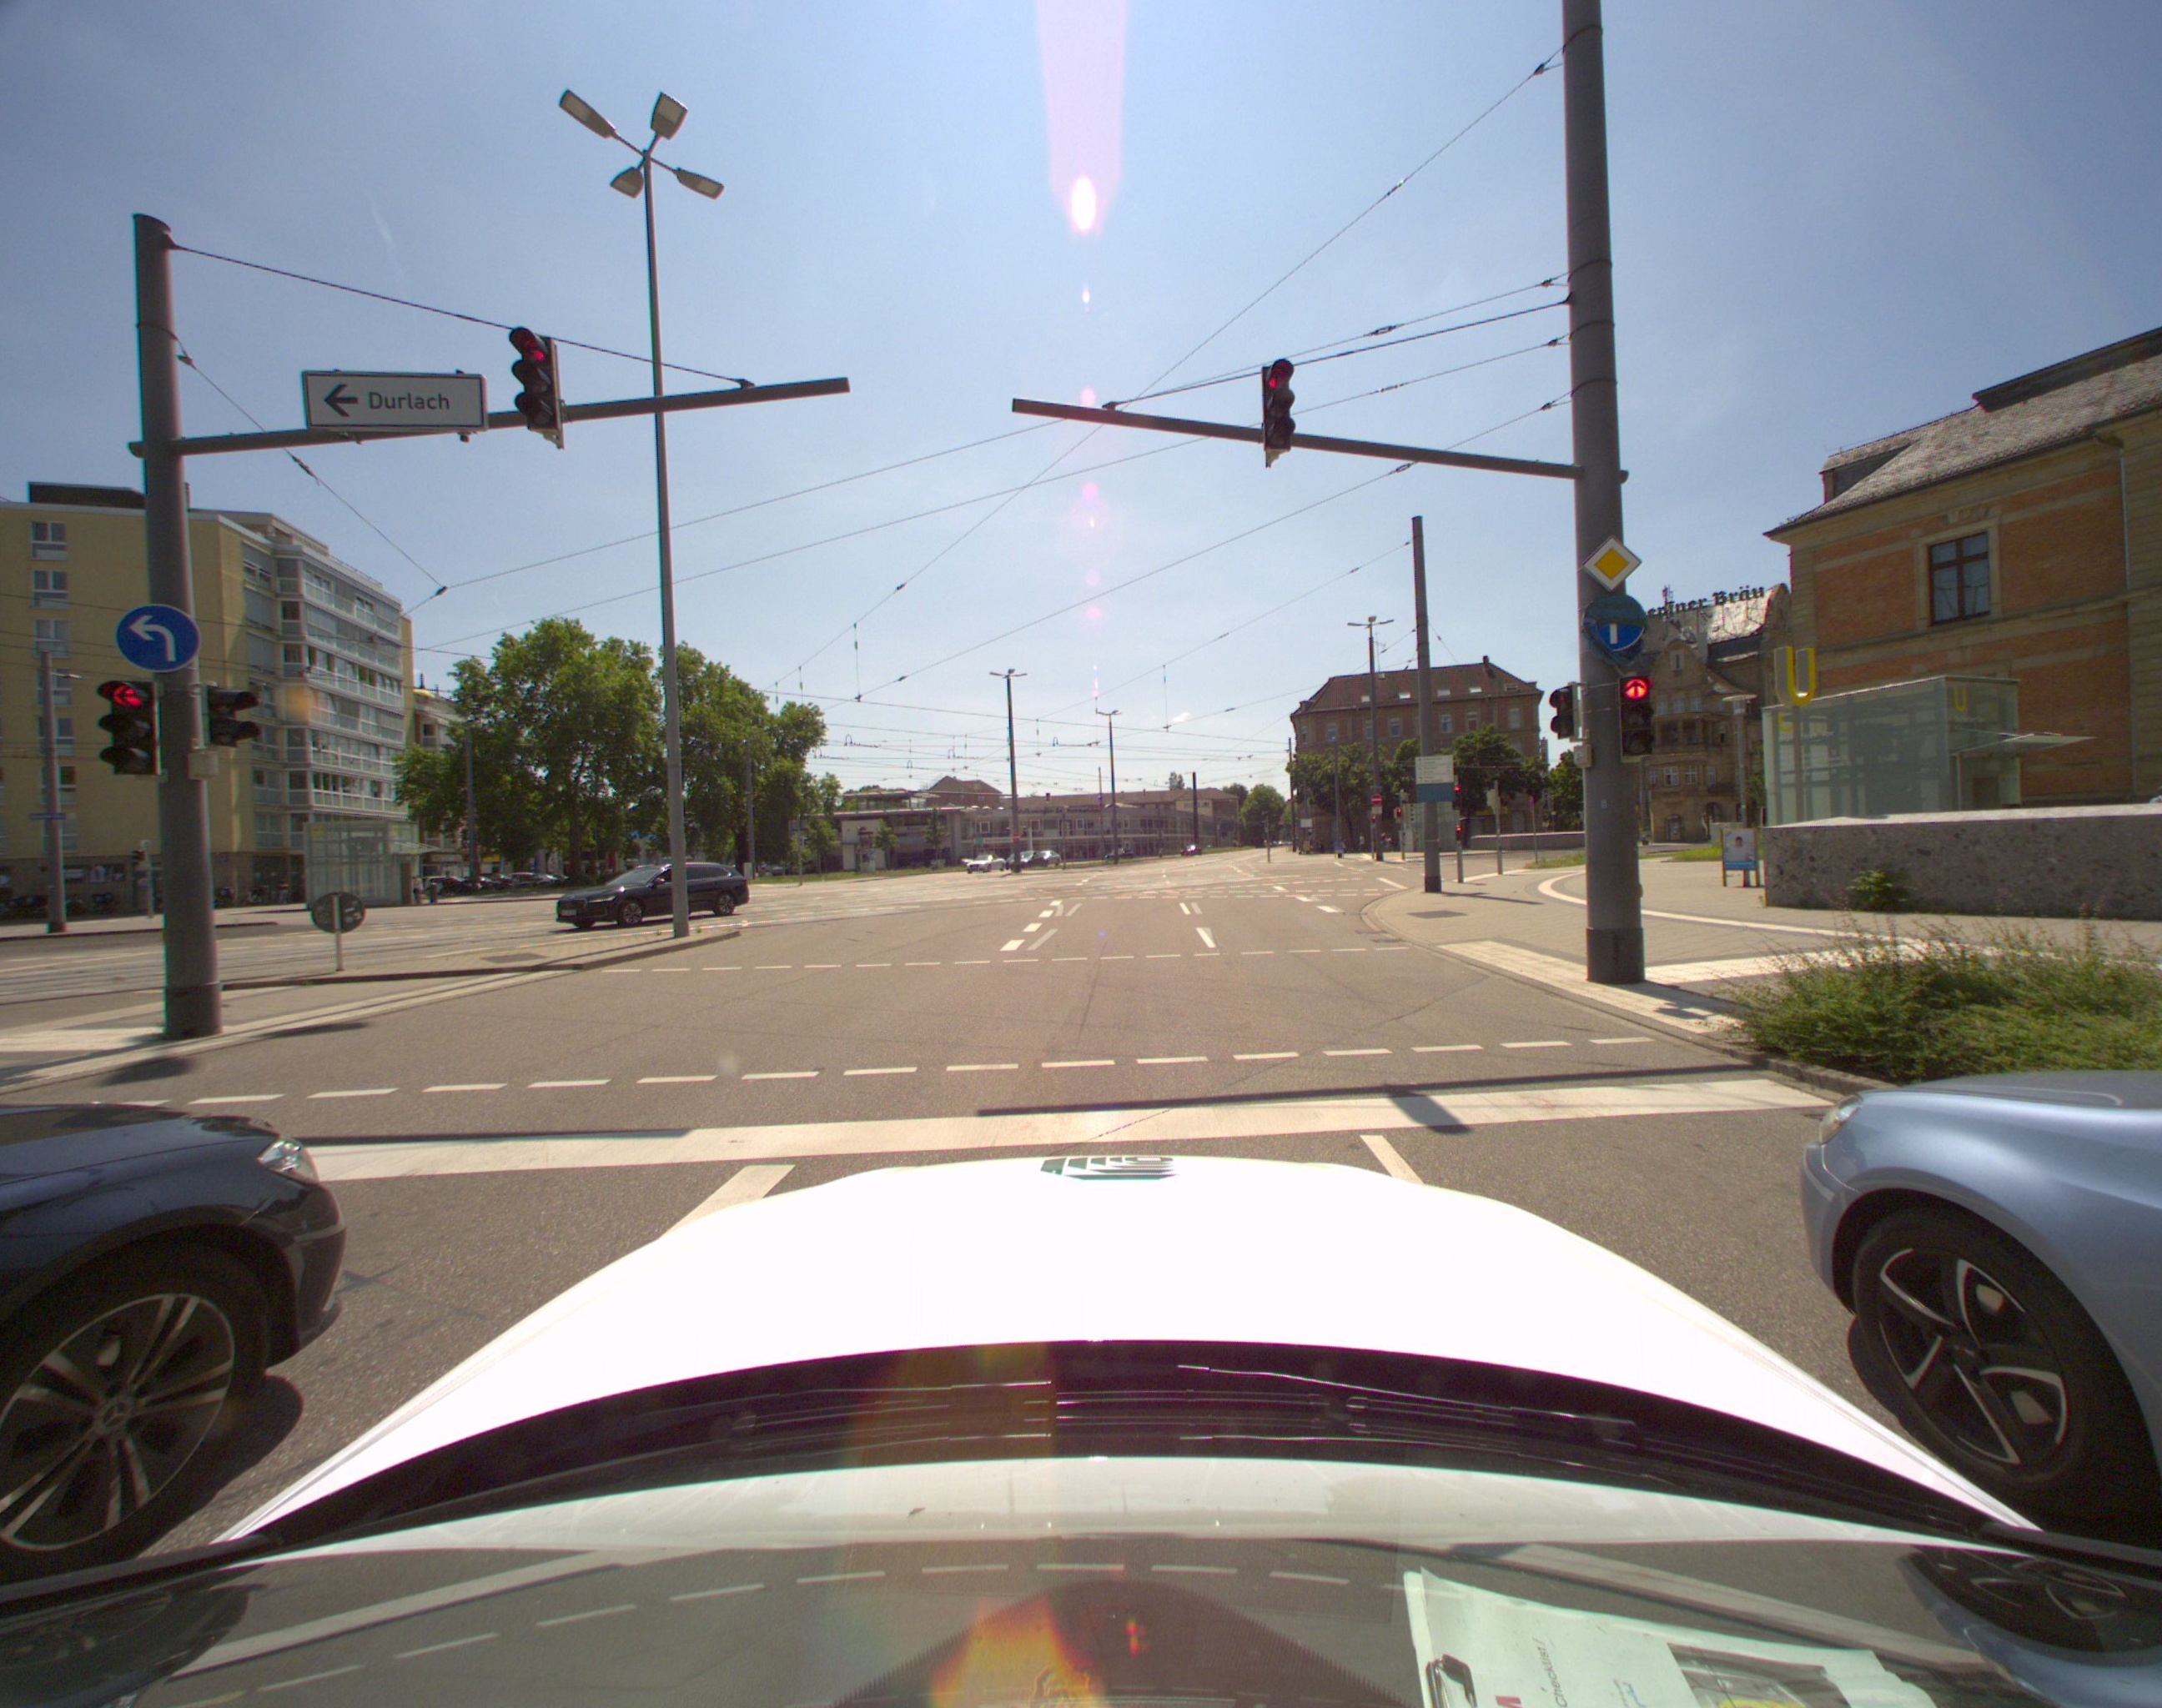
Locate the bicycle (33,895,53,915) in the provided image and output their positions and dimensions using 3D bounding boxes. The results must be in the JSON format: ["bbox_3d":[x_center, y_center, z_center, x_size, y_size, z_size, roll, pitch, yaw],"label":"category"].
[{"bbox_3d":[-56.915,2.781,44.656,0.435,1.026,1.426,-2,0,-42],"label":"bicycle"}]

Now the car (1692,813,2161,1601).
[{"bbox_3d":[2.812,0.647,0.657,1.646,1.459,4.003,-1,0,0],"label":"car"}]

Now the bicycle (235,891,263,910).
[{"bbox_3d":[-49.275,2.757,48.263,0.432,1.026,1.437,-2,0,-14],"label":"bicycle"}]

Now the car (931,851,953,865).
[{"bbox_3d":[-17.156,0.545,100.704,1.913,1.707,4.002,0,-1,2],"label":"car"}]

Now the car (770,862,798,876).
[{"bbox_3d":[-37.498,1.856,102.848,1.760,1.510,4.330,-2,0,3],"label":"car"}]

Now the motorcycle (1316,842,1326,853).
[{"bbox_3d":[23.191,-0.645,78.800,0.577,1.074,1.949,-2,0,6],"label":"motorcycle"}]

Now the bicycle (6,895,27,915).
[{"bbox_3d":[-57.858,2.785,44.262,0.435,1.026,1.426,-2,0,-42],"label":"bicycle"}]

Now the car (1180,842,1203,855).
[{"bbox_3d":[15.561,-0.744,114.674,1.975,1.776,4.023,-1,-1,25],"label":"car"}]

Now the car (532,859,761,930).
[{"bbox_3d":[-10.900,0.963,20.894,1.975,1.465,4.875,-2,0,27],"label":"car"}]

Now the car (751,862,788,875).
[{"bbox_3d":[-41.433,1.941,108.395,4.343,1.510,1.754,-3,0,-33],"label":"car"}]

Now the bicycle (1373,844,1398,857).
[{"bbox_3d":[26.290,-0.331,70.377,2.115,1.052,0.687,-2,0,-23],"label":"bicycle"}]

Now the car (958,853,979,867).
[{"bbox_3d":[-13.912,0.718,100.710,1.913,1.707,4.002,0,-1,2],"label":"car"}]

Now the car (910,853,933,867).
[{"bbox_3d":[-19.743,0.762,100.787,1.913,1.707,4.002,0,-1,2],"label":"car"}]

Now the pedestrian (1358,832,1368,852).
[{"bbox_3d":[24.782,-1.064,71.563,0.463,1.708,0.634,-2,0,-28],"label":"pedestrian"}]

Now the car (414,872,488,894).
[{"bbox_3d":[-48.989,2.238,63.414,3.999,1.420,1.988,-2,0,-19],"label":"car"}]

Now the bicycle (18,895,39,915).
[{"bbox_3d":[-57.403,2.783,44.421,0.435,1.026,1.426,-2,0,-42],"label":"bicycle"}]

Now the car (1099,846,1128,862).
[{"bbox_3d":[3.833,-0.042,96.177,2.061,1.682,4.870,-2,0,19],"label":"car"}]

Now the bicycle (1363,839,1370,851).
[{"bbox_3d":[27.349,-0.822,77.956,0.546,1.120,1.829,-2,0,18],"label":"bicycle"}]

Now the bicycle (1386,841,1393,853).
[{"bbox_3d":[29.688,-0.721,78.363,0.546,1.120,1.879,-2,0,18],"label":"bicycle"}]

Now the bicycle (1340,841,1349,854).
[{"bbox_3d":[25.585,-0.624,79.113,0.440,1.146,2.099,-1,-1,9],"label":"bicycle"}]

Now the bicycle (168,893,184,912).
[{"bbox_3d":[-51.224,2.752,46.100,0.435,1.026,1.426,-2,0,-42],"label":"bicycle"}]

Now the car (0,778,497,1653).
[{"bbox_3d":[-2.983,0.695,0.370,1.790,1.640,4.808,-1,0,2],"label":"car"}]

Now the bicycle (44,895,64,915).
[{"bbox_3d":[-56.408,2.778,44.731,0.435,1.026,1.426,-2,0,-42],"label":"bicycle"}]

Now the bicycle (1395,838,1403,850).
[{"bbox_3d":[30.512,-0.935,78.214,0.546,1.120,1.938,-2,0,18],"label":"bicycle"}]

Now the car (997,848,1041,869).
[{"bbox_3d":[-5.328,0.373,70.693,1.977,1.700,4.870,-2,0,19],"label":"car"}]

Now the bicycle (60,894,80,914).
[{"bbox_3d":[-55.911,2.777,45.051,0.435,1.026,1.426,-2,0,-42],"label":"bicycle"}]

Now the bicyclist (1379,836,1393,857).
[{"bbox_3d":[26.378,-0.669,70.460,1.065,1.808,0.475,0,-1,-23],"label":"bicyclist"}]

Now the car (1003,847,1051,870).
[{"bbox_3d":[-4.238,0.312,64.835,1.977,1.637,4.870,-2,0,19],"label":"car"}]

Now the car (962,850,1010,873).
[{"bbox_3d":[-7.481,0.551,64.600,2.061,1.580,4.866,-2,0,15],"label":"car"}]

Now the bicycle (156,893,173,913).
[{"bbox_3d":[-51.689,2.754,45.931,0.435,1.026,1.426,-2,0,-42],"label":"bicycle"}]

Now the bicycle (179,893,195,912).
[{"bbox_3d":[-50.802,2.751,46.289,0.435,1.026,1.426,-2,0,-42],"label":"bicycle"}]

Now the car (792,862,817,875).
[{"bbox_3d":[-34.692,1.778,102.225,1.763,1.510,4.322,-2,0,-3],"label":"car"}]

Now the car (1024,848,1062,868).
[{"bbox_3d":[-3.521,0.325,76.597,1.977,1.739,4.565,-2,0,19],"label":"car"}]

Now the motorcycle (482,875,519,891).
[{"bbox_3d":[-39.376,1.987,55.251,1.925,0.961,0.521,-2,0,-29],"label":"motorcycle"}]

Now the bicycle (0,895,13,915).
[{"bbox_3d":[-58.458,2.788,44.111,0.435,1.026,1.426,-2,0,-42],"label":"bicycle"}]

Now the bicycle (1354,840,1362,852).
[{"bbox_3d":[26.639,-0.819,78.347,0.546,1.120,1.830,-2,0,21],"label":"bicycle"}]
